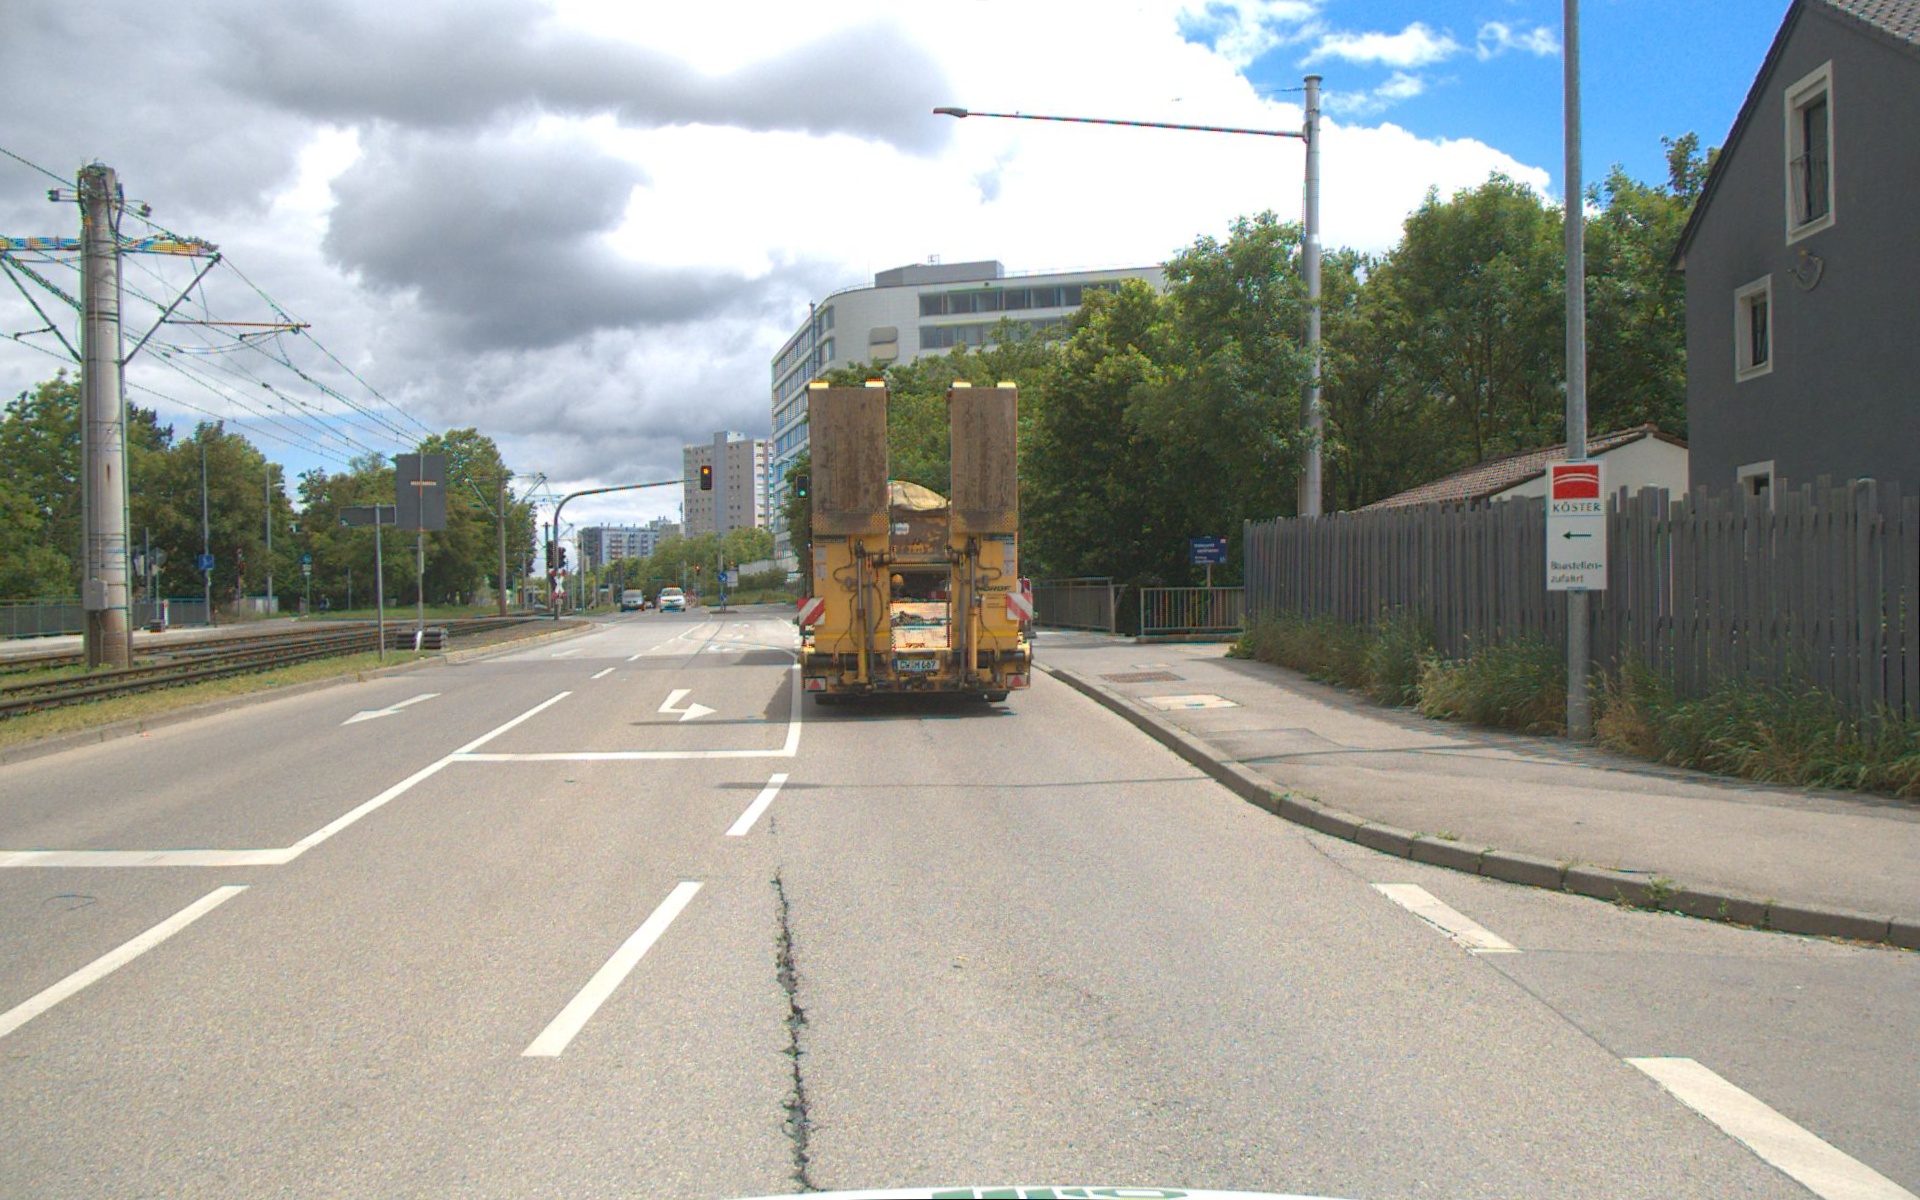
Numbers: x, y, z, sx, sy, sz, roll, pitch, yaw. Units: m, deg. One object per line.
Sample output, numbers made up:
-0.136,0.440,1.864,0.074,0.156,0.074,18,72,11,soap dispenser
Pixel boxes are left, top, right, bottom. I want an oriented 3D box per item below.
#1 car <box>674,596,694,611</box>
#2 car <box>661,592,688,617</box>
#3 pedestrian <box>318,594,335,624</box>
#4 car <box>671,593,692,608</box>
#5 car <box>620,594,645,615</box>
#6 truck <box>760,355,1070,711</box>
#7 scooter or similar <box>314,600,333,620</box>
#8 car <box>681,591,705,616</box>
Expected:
-27.916,0.373,167.440,1.957,1.445,3.991,1,0,-9,car
-18.546,0.285,107.551,1.563,1.553,3.648,-1,0,-8,car
-39.449,0.549,102.978,0.786,1.843,0.808,1,0,-6,pedestrian
-26.518,0.037,157.560,1.957,1.445,3.991,1,0,-9,car
-24.874,0.345,125.813,1.752,1.597,4.334,-1,0,-10,car
-0.916,-0.676,23.635,3.251,3.715,12.550,0,0,-4,truck
-39.302,0.610,102.170,0.873,1.205,0.971,1,0,-7,scooter or similar
-21.792,0.298,134.981,1.957,1.959,3.991,1,0,-9,car
